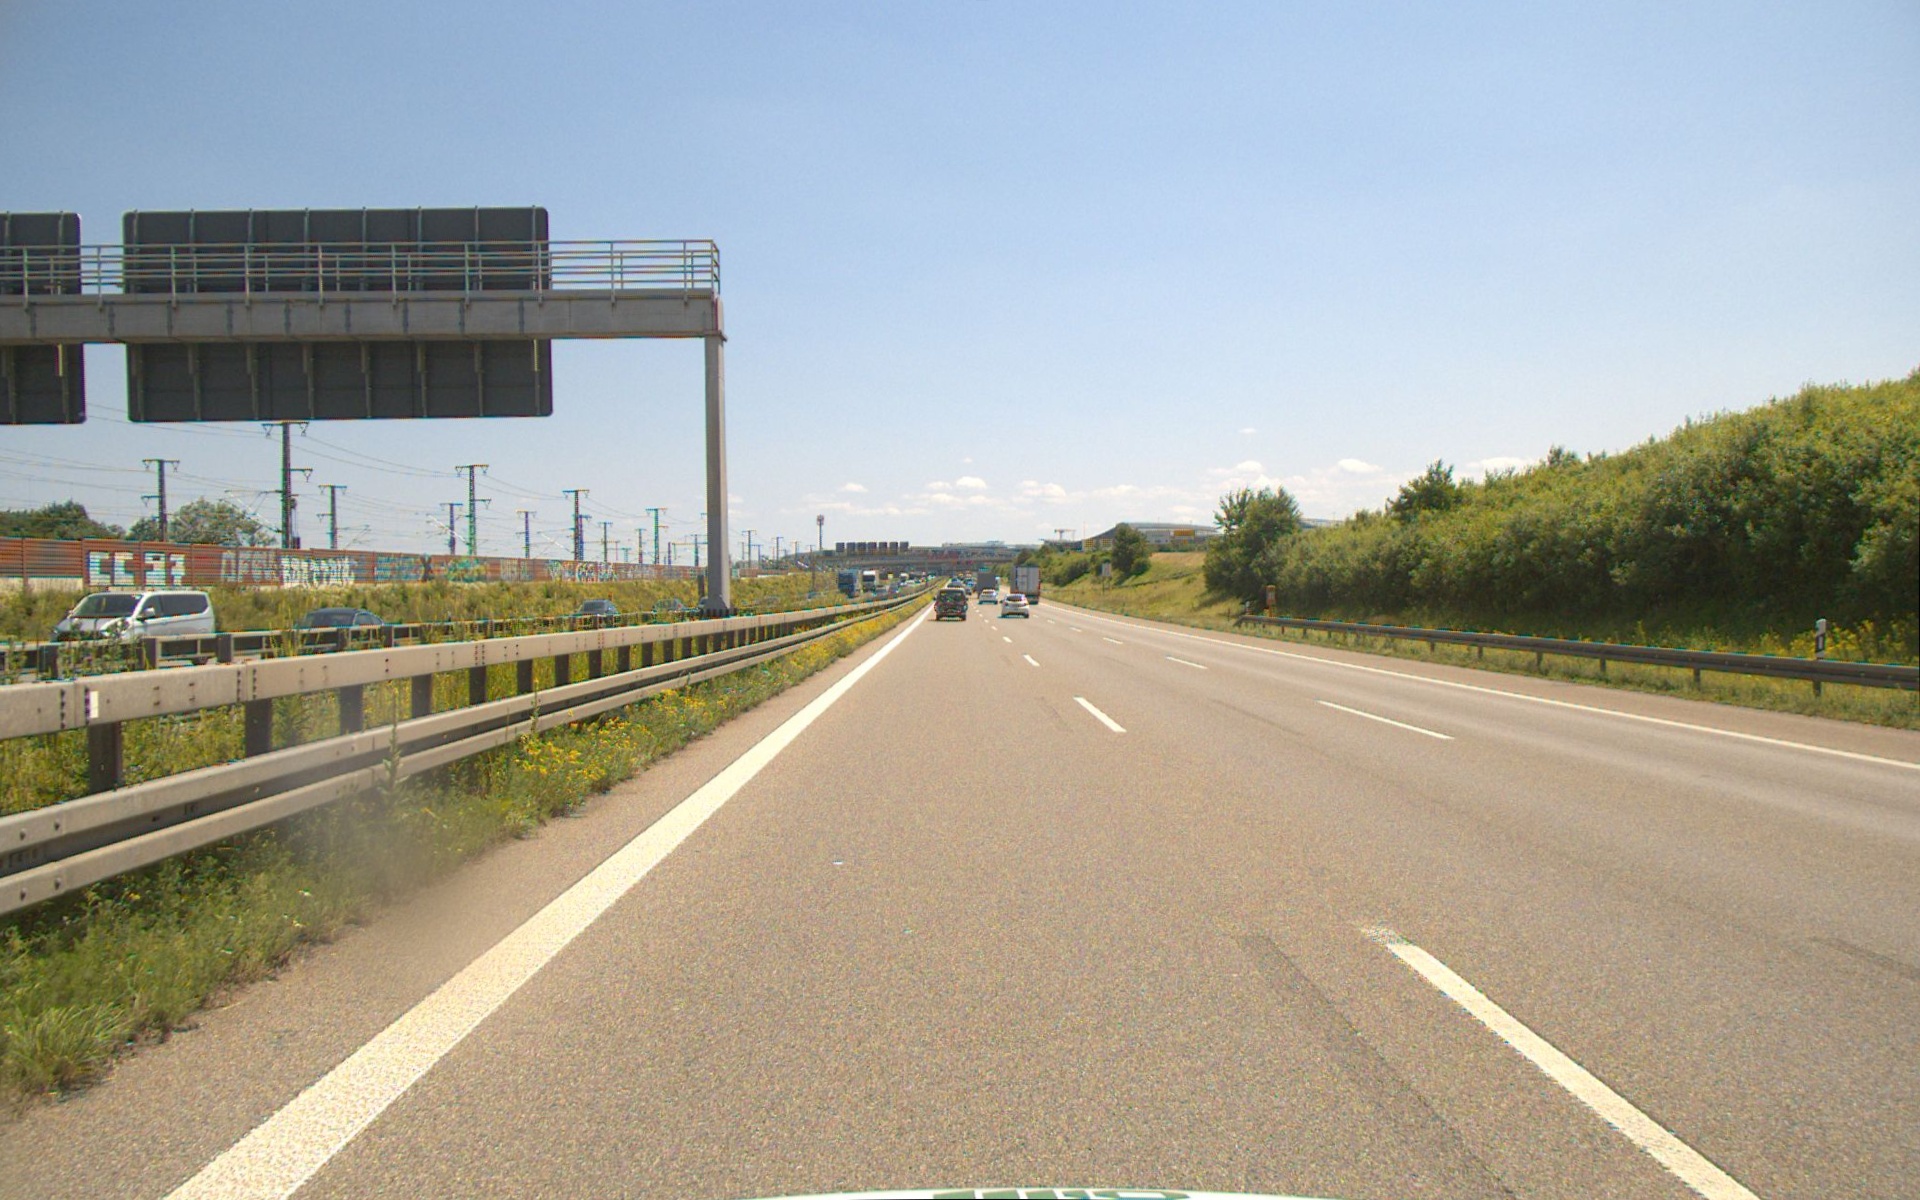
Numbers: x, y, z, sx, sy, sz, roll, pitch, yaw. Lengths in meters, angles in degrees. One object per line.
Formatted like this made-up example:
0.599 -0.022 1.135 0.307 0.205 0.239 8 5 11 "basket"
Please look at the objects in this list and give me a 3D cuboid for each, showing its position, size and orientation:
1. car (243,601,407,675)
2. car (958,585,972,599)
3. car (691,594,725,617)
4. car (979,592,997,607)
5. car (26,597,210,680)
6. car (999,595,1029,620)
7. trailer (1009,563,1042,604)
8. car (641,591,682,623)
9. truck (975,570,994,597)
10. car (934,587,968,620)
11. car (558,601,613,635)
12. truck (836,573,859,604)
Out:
-14.551 0.842 38.190 1.952 1.604 4.477 0 0 2 "car"
0.724 -1.236 247.534 1.953 2.049 3.999 0 0 -1 "car"
-20.033 0.437 131.608 1.953 1.757 4.513 0 0 0 "car"
2.886 -0.024 170.640 1.842 1.553 4.000 0 0 1 "car"
-20.832 0.897 41.196 1.952 1.919 4.978 0 0 1 "car"
3.430 0.454 104.483 1.841 1.553 4.001 0 0 2 "car"
6.955 -1.780 176.362 3.112 4.130 9.439 -1 1 0 "trailer"
-19.959 0.481 110.845 1.953 2.049 4.309 1 -1 0 "car"
3.126 -2.200 214.551 2.307 3.476 6.057 0 1 0 "truck"
-0.518 0.217 93.809 1.842 1.806 4.000 -1 0 0 "car"
-20.415 0.947 90.403 1.952 1.757 4.513 0 0 0 "car"
-16.549 -1.745 244.455 2.829 4.484 7.503 -1 1 0 "truck"
